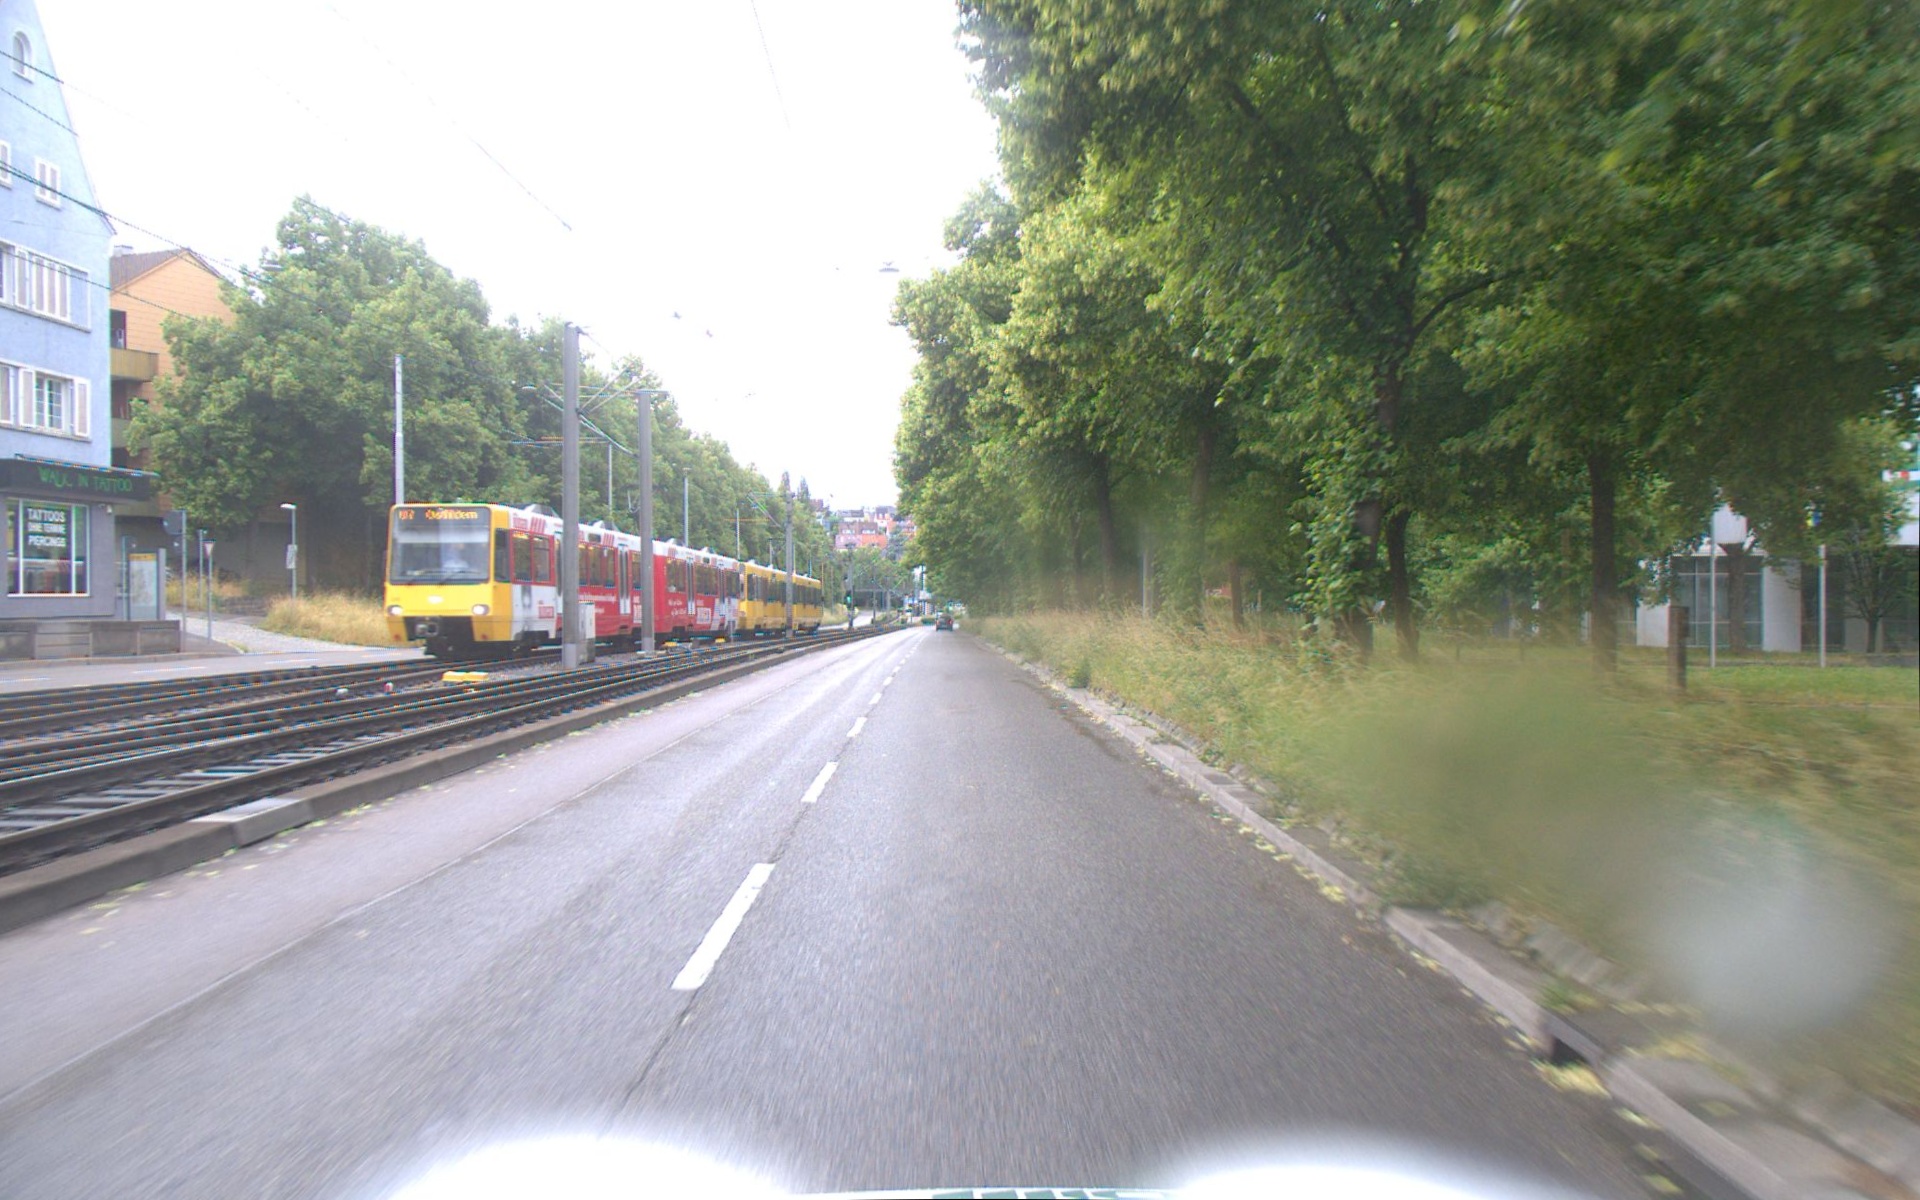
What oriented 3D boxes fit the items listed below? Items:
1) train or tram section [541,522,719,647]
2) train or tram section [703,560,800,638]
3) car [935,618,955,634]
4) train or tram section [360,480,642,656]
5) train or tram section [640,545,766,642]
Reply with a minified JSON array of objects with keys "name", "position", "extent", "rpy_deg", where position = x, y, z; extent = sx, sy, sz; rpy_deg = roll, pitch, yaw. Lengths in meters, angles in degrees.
[{"name":"train or tram section","position":[-11.279,-0.396,58.514],"extent":[3.148,3.863,14.789],"rpy_deg":[0,-1,1]},{"name":"train or tram section","position":[-10.994,0.033,88.828],"extent":[3.148,3.863,14.789],"rpy_deg":[0,-1,1]},{"name":"car","position":[-1.471,2.526,162.170],"extent":[1.942,1.466,4.473],"rpy_deg":[0,0,-1]},{"name":"train or tram section","position":[-11.490,-0.613,43.661],"extent":[3.148,3.863,14.789],"rpy_deg":[0,-1,1]},{"name":"train or tram section","position":[-11.123,-0.173,73.366],"extent":[3.148,3.863,14.789],"rpy_deg":[0,-1,1]}]
